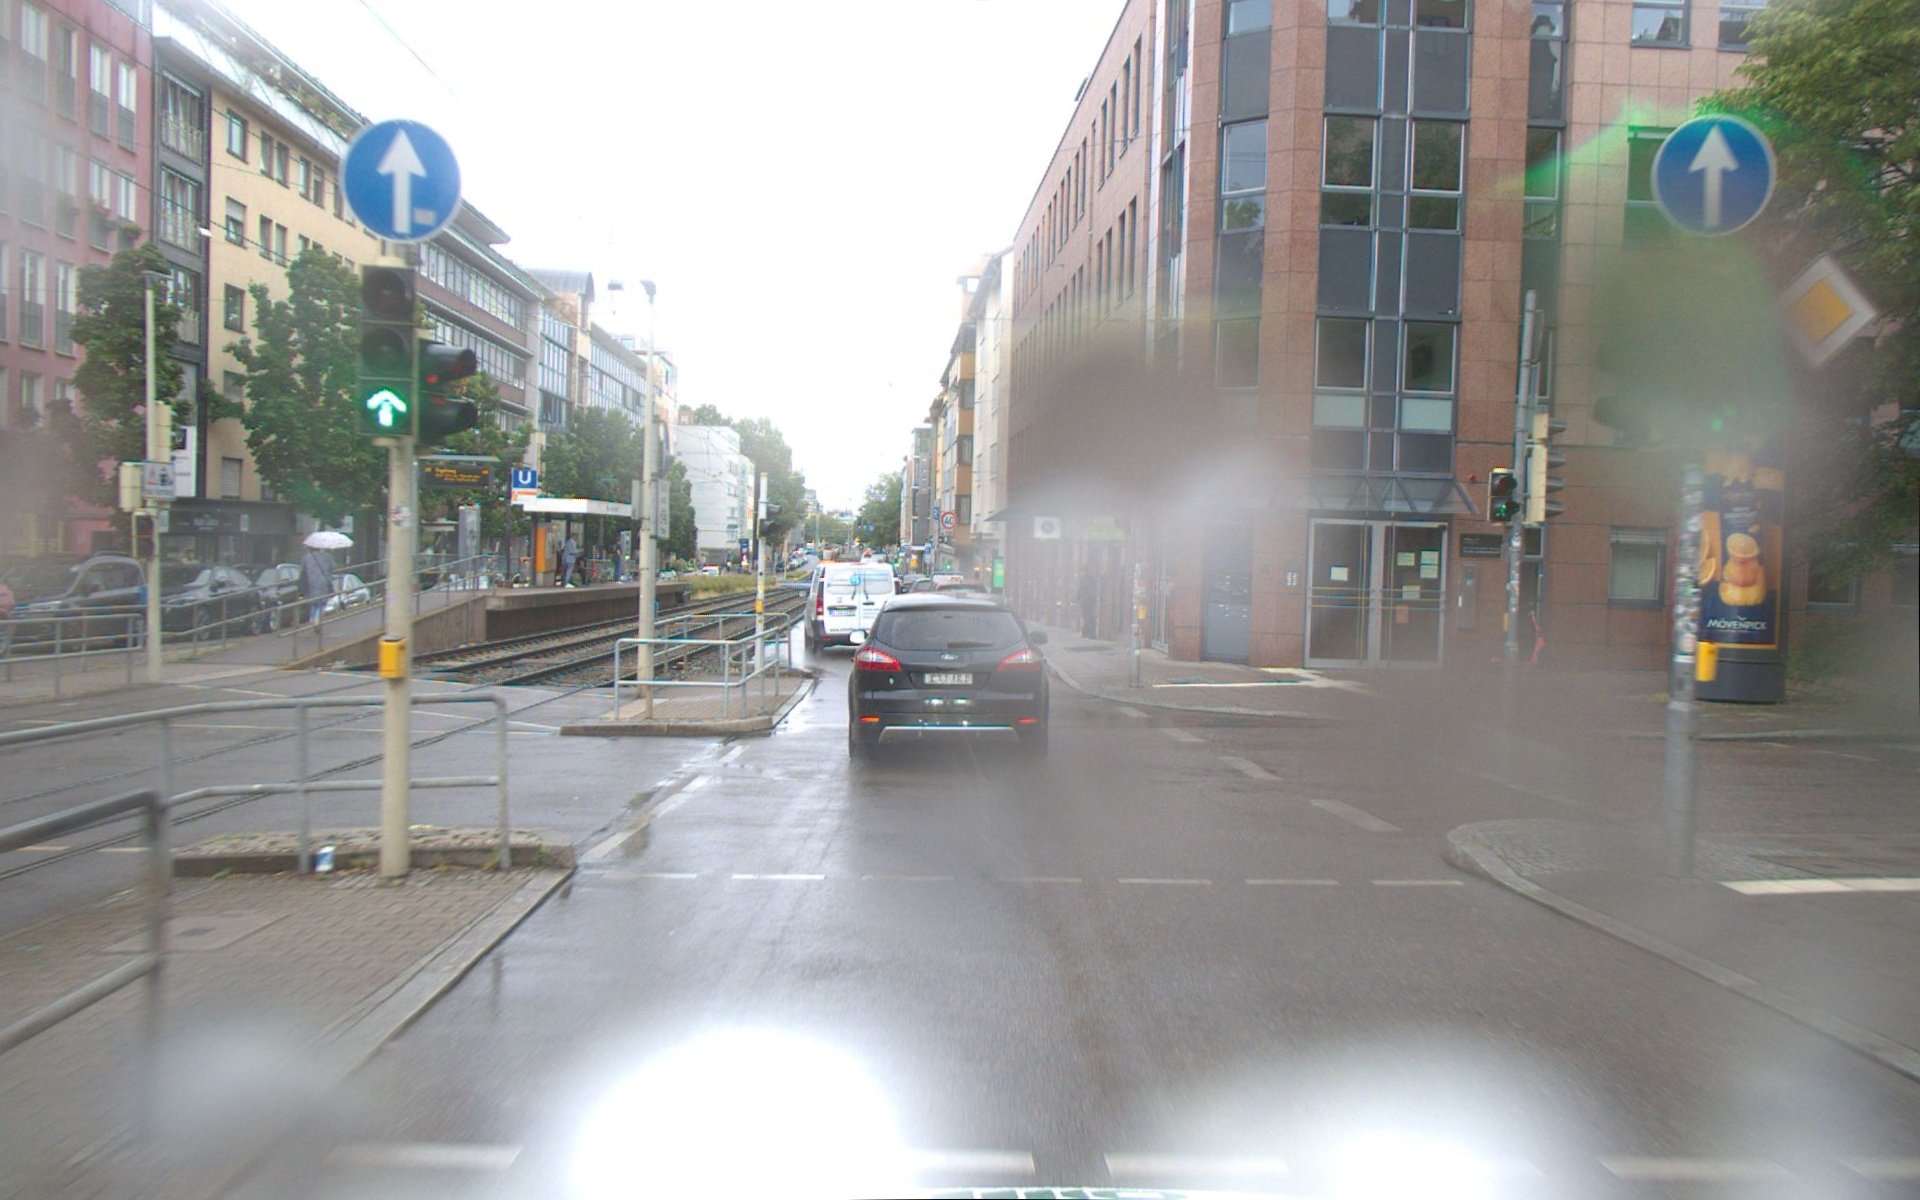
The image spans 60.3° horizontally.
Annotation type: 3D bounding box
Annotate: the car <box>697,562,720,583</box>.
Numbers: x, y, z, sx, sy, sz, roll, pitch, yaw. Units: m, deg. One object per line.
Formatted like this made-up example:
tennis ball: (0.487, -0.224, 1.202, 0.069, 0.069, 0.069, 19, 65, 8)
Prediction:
car: (-23.892, -2.612, 157.307, 1.870, 1.897, 4.567, 1, 0, -6)

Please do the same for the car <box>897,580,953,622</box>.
car: (-1.367, 0.000, 62.853, 1.739, 1.494, 4.604, 1, 1, -6)

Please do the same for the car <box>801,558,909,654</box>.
car: (-2.341, 0.124, 35.662, 1.871, 1.897, 4.564, 1, 0, -9)

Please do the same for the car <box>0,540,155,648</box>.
car: (-17.024, -0.135, 31.434, 1.674, 1.890, 4.316, 1, 1, -6)

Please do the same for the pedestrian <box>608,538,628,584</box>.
pedestrian: (-13.850, -1.577, 66.982, 0.643, 1.833, 0.849, 1, 0, -5)

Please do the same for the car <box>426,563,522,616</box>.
car: (-15.547, -0.346, 53.171, 1.771, 1.605, 5.018, 1, 1, -3)

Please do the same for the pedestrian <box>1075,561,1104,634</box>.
pedestrian: (3.061, -0.059, 39.228, 0.589, 1.688, 0.625, 1, 0, -3)

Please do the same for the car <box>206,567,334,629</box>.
car: (-17.390, -0.062, 41.877, 1.805, 1.461, 4.314, 1, 1, -6)

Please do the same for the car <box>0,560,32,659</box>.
car: (-16.700, 0.171, 26.070, 1.691, 1.640, 4.551, 1, 1, -2)

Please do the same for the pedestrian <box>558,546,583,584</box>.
pedestrian: (-13.180, -1.190, 55.942, 0.679, 1.271, 0.883, 1, 0, -5)

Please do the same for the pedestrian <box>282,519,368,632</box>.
pedestrian: (-11.803, -0.448, 30.781, 1.094, 2.049, 1.382, 1, 0, -3)

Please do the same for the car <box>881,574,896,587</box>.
car: (-9.168, -2.490, 211.077, 1.868, 1.662, 4.572, 1, 0, -2)

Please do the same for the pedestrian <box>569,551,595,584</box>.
pedestrian: (-13.276, -1.146, 58.038, 0.877, 1.143, 0.847, 1, 0, -14)

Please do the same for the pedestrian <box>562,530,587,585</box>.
pedestrian: (-12.520, -1.368, 53.703, 0.643, 1.741, 0.849, 1, 0, -5)

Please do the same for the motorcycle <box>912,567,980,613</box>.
motorcycle: (-0.448, -0.327, 53.368, 2.039, 1.432, 0.799, 1, 0, 15)

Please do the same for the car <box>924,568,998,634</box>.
car: (-0.020, 0.021, 40.599, 1.664, 1.505, 3.866, -1, 0, -2)

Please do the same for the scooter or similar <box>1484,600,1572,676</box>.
scooter or similar: (9.504, 0.637, 27.694, 1.346, 1.248, 0.325, 1, 0, 0)

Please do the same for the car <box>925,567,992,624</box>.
car: (-0.082, -0.128, 46.246, 1.665, 1.488, 3.865, -1, 0, -3)

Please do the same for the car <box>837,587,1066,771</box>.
car: (-0.144, 0.651, 15.386, 1.868, 1.488, 3.443, 1, 0, -3)

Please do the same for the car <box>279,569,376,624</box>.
car: (-17.654, -0.124, 46.305, 1.538, 1.461, 3.974, 1, 1, -6)

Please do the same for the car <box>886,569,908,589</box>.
car: (-5.665, -1.889, 149.228, 1.868, 1.662, 4.572, 1, 0, -2)

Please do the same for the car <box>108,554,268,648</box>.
car: (-16.731, -0.007, 36.091, 1.767, 1.890, 4.375, 1, 1, -6)
